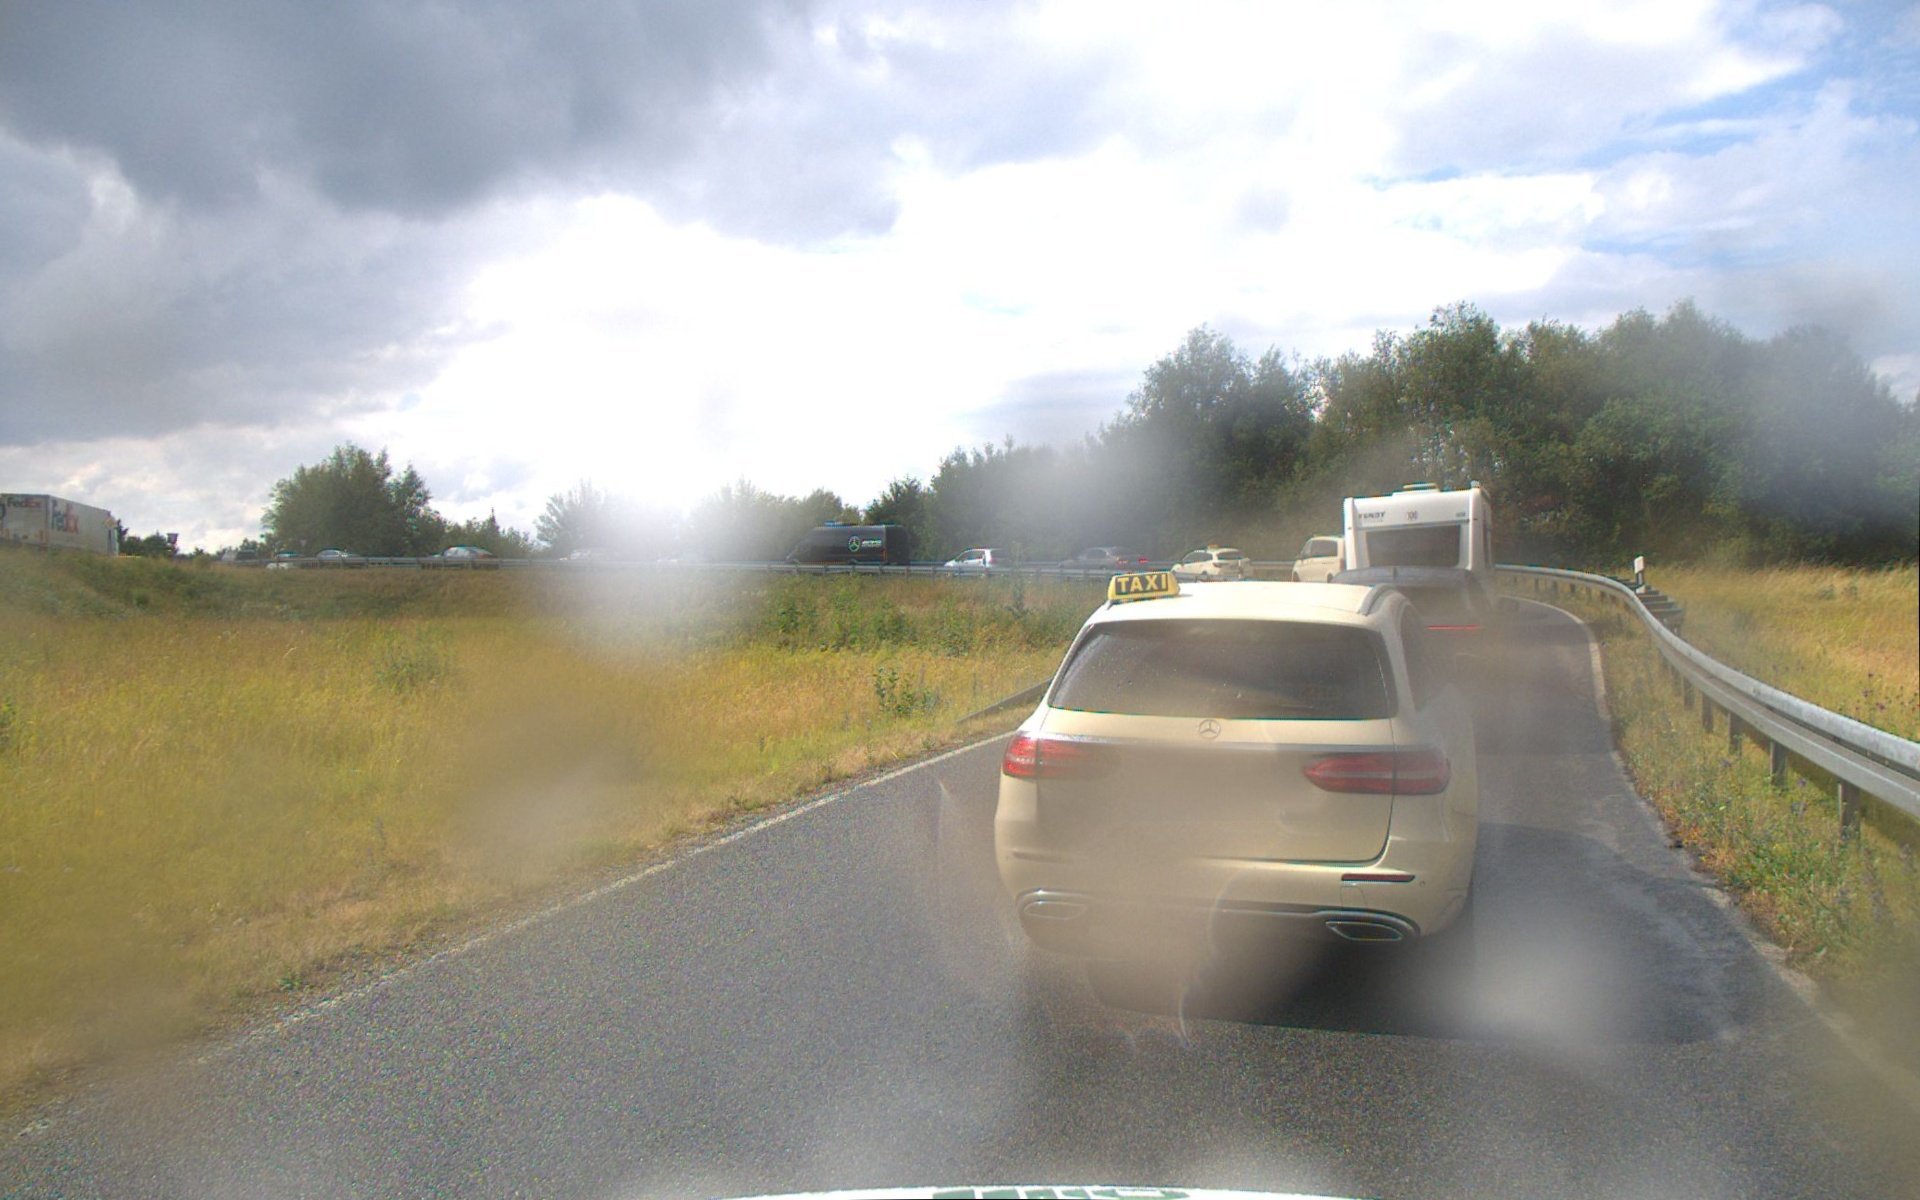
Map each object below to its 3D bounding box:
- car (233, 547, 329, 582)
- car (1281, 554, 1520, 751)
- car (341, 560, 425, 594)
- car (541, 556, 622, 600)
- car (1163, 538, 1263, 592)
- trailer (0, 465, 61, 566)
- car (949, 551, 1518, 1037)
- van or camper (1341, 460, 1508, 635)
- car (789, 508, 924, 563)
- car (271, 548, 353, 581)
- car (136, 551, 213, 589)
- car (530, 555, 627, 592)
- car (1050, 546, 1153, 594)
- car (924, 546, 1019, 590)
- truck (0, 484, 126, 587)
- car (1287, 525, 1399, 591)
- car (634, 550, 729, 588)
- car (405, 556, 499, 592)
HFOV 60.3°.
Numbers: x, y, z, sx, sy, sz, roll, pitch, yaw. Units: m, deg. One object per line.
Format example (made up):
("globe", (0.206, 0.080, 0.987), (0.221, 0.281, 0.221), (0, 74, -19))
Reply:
("car", (-40.778, -2.105, 99.365), (4.935, 1.894, 2.001), (-2, -1, 4))
("car", (4.218, 0.386, 15.409), (1.683, 1.551, 4.001), (-1, 1, 22))
("car", (-35.370, -1.422, 101.404), (4.400, 1.894, 2.002), (-2, -1, 8))
("car", (-21.422, -1.245, 93.620), (3.908, 2.047, 2.000), (-3, 6, 26))
("car", (9.647, -1.309, 63.511), (1.960, 1.894, 5.038), (-2, 0, -14))
("trailer", (-48.601, -4.319, 80.652), (4.343, 4.025, 20.117), (0, -2, -17))
("car", (1.524, 0.565, 7.686), (1.876, 1.533, 4.599), (0, 1, 17))
("van or camper", (8.406, -0.925, 29.490), (2.380, 2.777, 6.003), (0, 2, 20))
("car", (-5.465, -3.309, 86.346), (6.848, 2.640, 2.863), (-1, 1, 38))
("car", (-41.674, -2.255, 106.419), (4.940, 1.894, 1.999), (-2, -1, 24))
("car", (-45.896, -1.726, 96.686), (3.933, 2.049, 1.813), (0, -3, -23))
("car", (-21.646, -1.510, 93.853), (4.934, 1.894, 2.001), (-2, -1, 16))
("car", (6.190, -1.310, 72.902), (1.974, 1.894, 5.003), (-1, -1, -31))
("car", (0.515, -1.548, 80.879), (1.980, 1.894, 4.989), (-1, -1, -38))
("truck", (-54.291, -3.591, 99.205), (4.390, 4.582, 19.279), (0, -2, -17))
("car", (12.287, -1.310, 53.405), (1.955, 1.894, 5.051), (-2, 0, -6))
("car", (-15.436, -1.682, 91.587), (4.941, 1.894, 1.999), (-2, -1, 25))
("car", (-29.590, -1.484, 96.336), (4.934, 1.894, 2.001), (-2, -1, 16))
